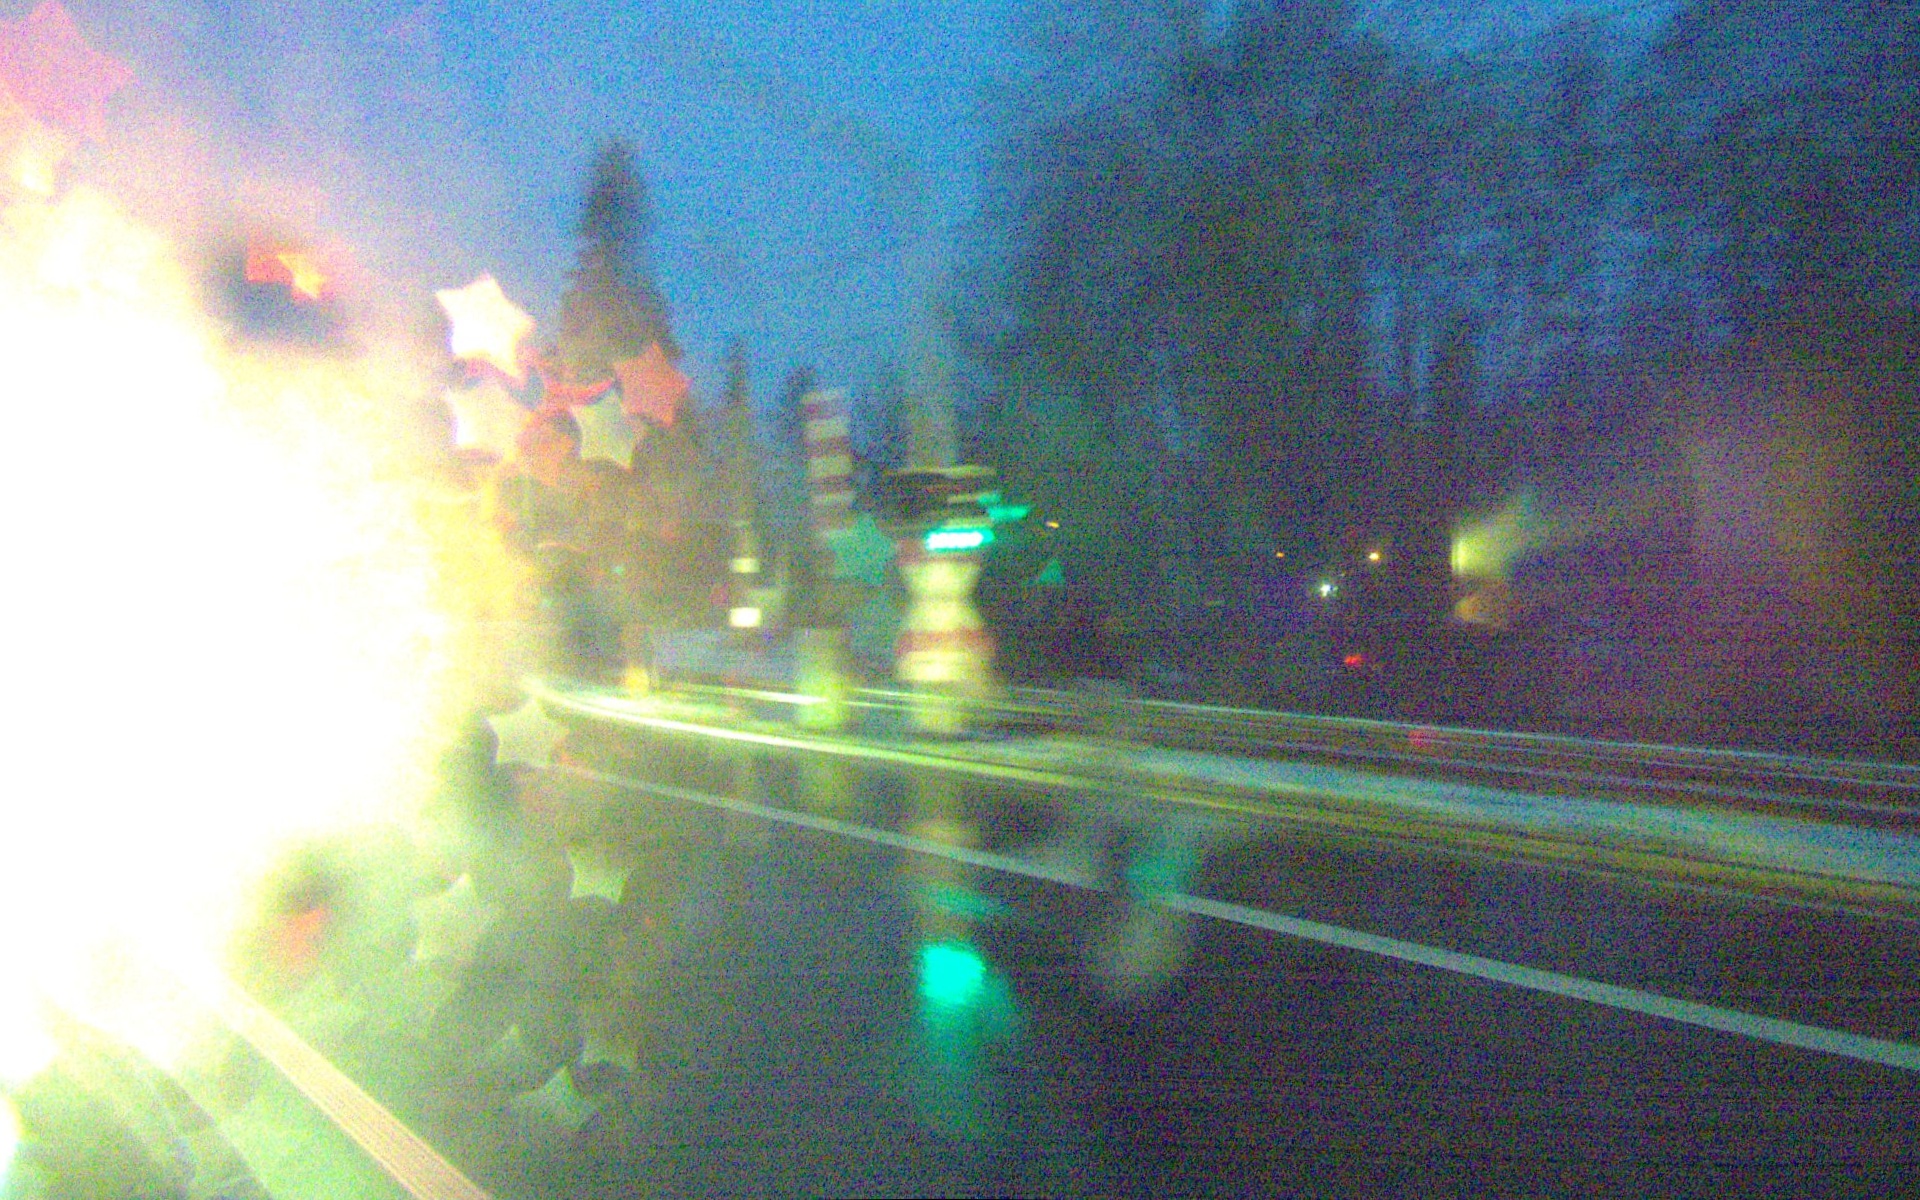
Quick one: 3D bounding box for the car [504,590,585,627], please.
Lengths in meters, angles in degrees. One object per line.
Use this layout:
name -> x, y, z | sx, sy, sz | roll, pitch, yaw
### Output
car -> -20.273, 0.395, 49.311 | 4.482, 1.598, 1.912 | 2, 0, 43
